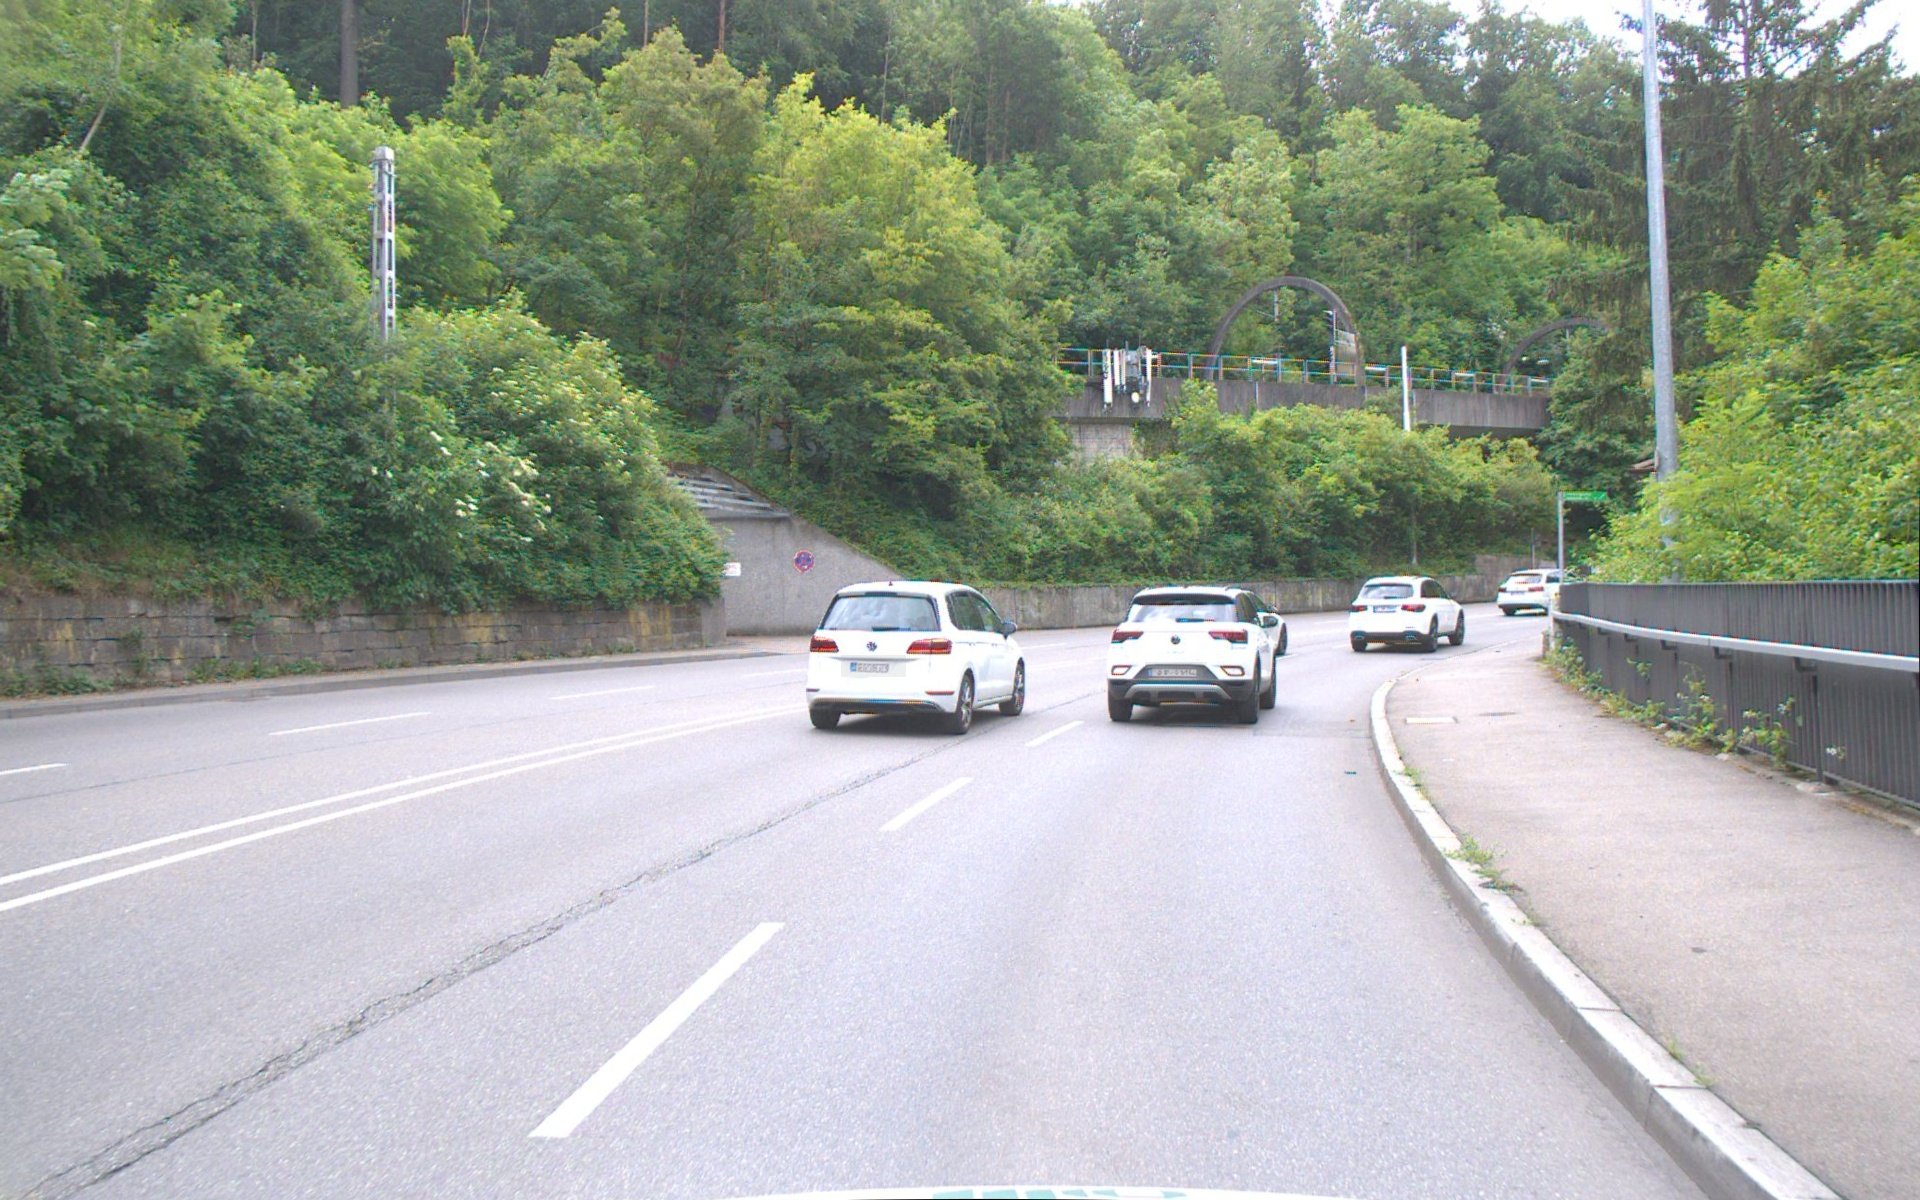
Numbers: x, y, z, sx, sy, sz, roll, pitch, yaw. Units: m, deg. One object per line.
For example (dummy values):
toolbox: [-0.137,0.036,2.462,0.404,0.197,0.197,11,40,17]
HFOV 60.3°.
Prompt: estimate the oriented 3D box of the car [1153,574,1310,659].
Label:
car: [5.872,0.297,35.308,1.955,1.584,4.676,3,2,26]

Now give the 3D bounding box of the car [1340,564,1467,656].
car: [10.271,0.264,38.098,1.955,1.876,4.144,2,-2,28]

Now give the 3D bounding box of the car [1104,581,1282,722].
car: [2.977,0.591,20.471,1.775,1.566,4.011,0,-1,14]

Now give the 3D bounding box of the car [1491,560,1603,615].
car: [19.595,-0.401,55.162,4.272,1.546,1.720,4,-3,-43]

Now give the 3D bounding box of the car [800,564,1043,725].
car: [-0.302,0.490,18.886,1.683,1.581,4.278,1,-1,14]
